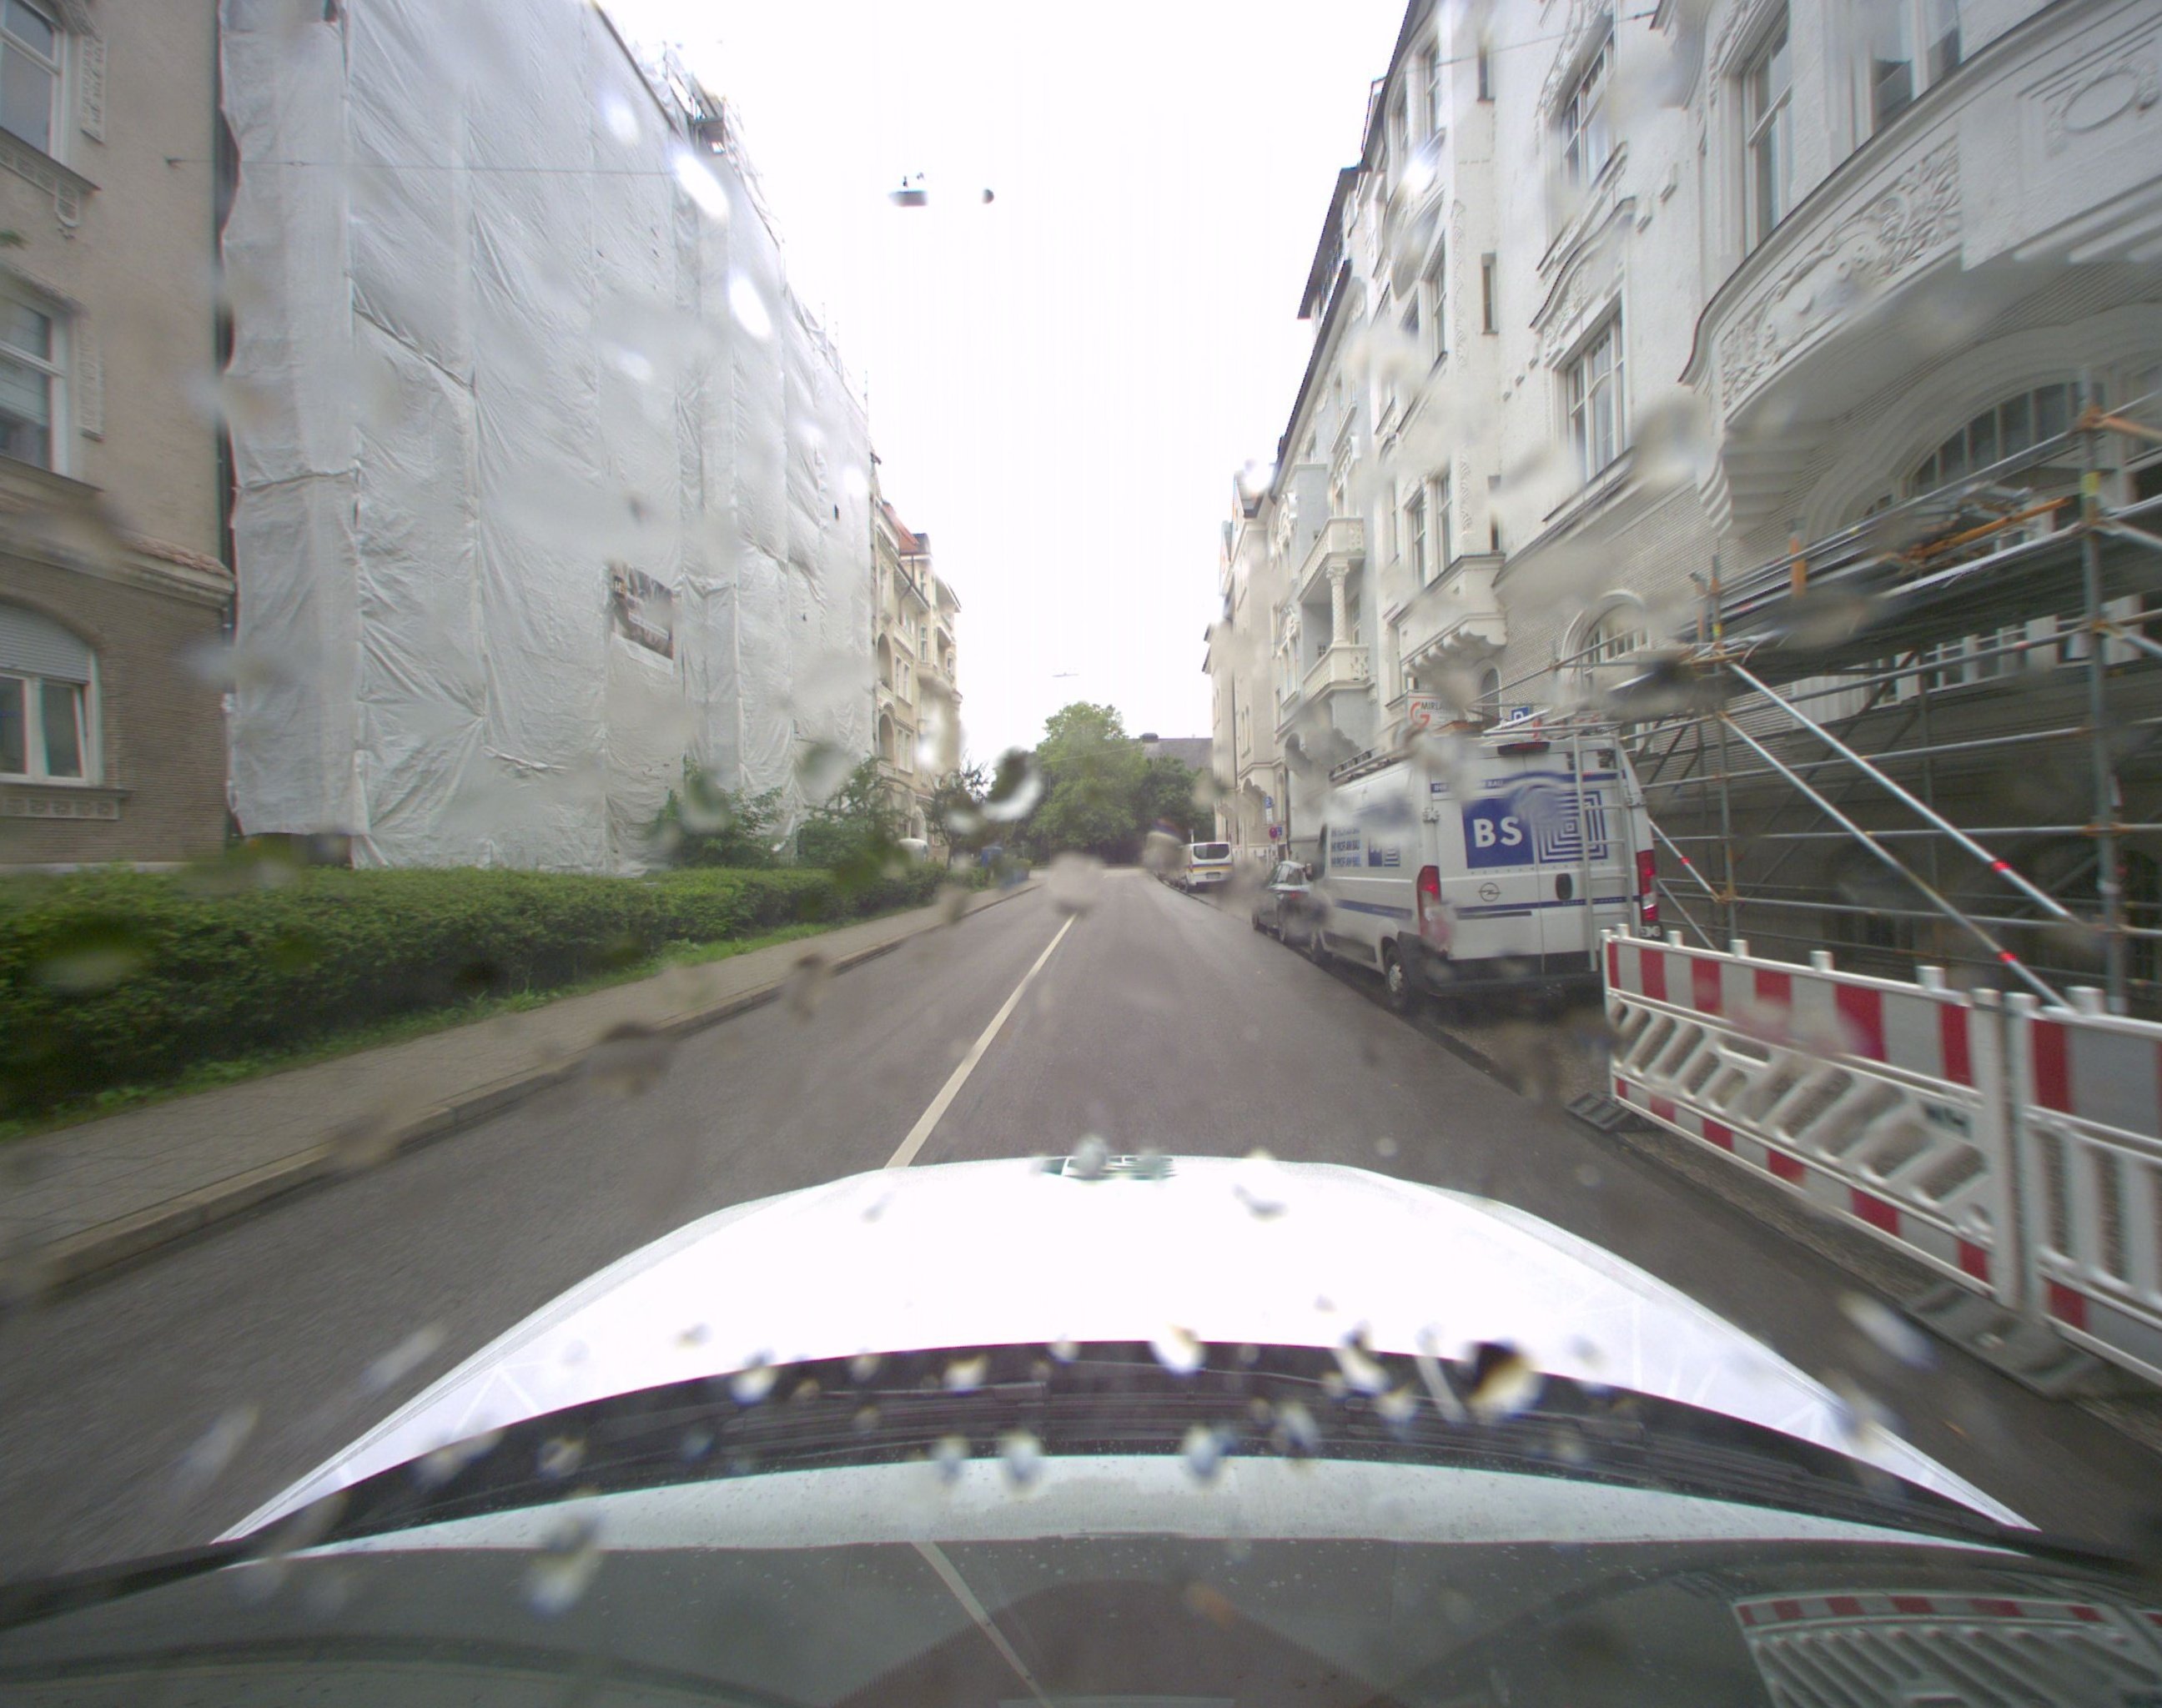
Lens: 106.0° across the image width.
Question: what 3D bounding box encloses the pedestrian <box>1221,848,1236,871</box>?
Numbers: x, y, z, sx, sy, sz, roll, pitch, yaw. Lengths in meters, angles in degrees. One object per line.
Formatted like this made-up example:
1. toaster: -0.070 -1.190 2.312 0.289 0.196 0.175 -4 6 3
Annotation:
1. pedestrian: 11.292 0.411 62.351 0.697 1.737 0.727 -2 -4 -42

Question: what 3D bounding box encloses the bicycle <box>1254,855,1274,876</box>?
1. bicycle: 9.850 0.599 43.912 0.691 1.093 2.039 -4 0 4

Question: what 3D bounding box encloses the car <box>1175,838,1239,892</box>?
1. car: 5.202 0.436 34.267 1.952 2.013 4.994 -2 0 1

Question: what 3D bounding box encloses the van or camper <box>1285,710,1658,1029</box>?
1. van or camper: 3.964 0.147 9.595 1.945 2.637 5.462 -2 0 3

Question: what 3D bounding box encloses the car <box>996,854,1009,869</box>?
1. car: -13.388 1.280 138.736 2.039 2.558 5.235 -2 0 -7

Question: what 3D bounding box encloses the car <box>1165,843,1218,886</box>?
1. car: 5.402 0.482 40.362 1.952 1.937 4.994 -2 0 1

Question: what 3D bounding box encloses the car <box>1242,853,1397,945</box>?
1. car: 4.258 0.736 15.204 1.747 1.434 4.088 -2 0 2

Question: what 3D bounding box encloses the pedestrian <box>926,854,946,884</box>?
1. pedestrian: -8.758 0.895 49.170 0.910 1.751 0.948 -2 -1 2

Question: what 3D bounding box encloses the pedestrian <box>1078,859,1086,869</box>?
1. pedestrian: 0.139 1.152 92.979 0.807 1.189 0.921 -2 0 9

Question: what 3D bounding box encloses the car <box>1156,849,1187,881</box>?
1. car: 5.726 0.669 51.637 1.841 1.853 4.828 -2 0 6
